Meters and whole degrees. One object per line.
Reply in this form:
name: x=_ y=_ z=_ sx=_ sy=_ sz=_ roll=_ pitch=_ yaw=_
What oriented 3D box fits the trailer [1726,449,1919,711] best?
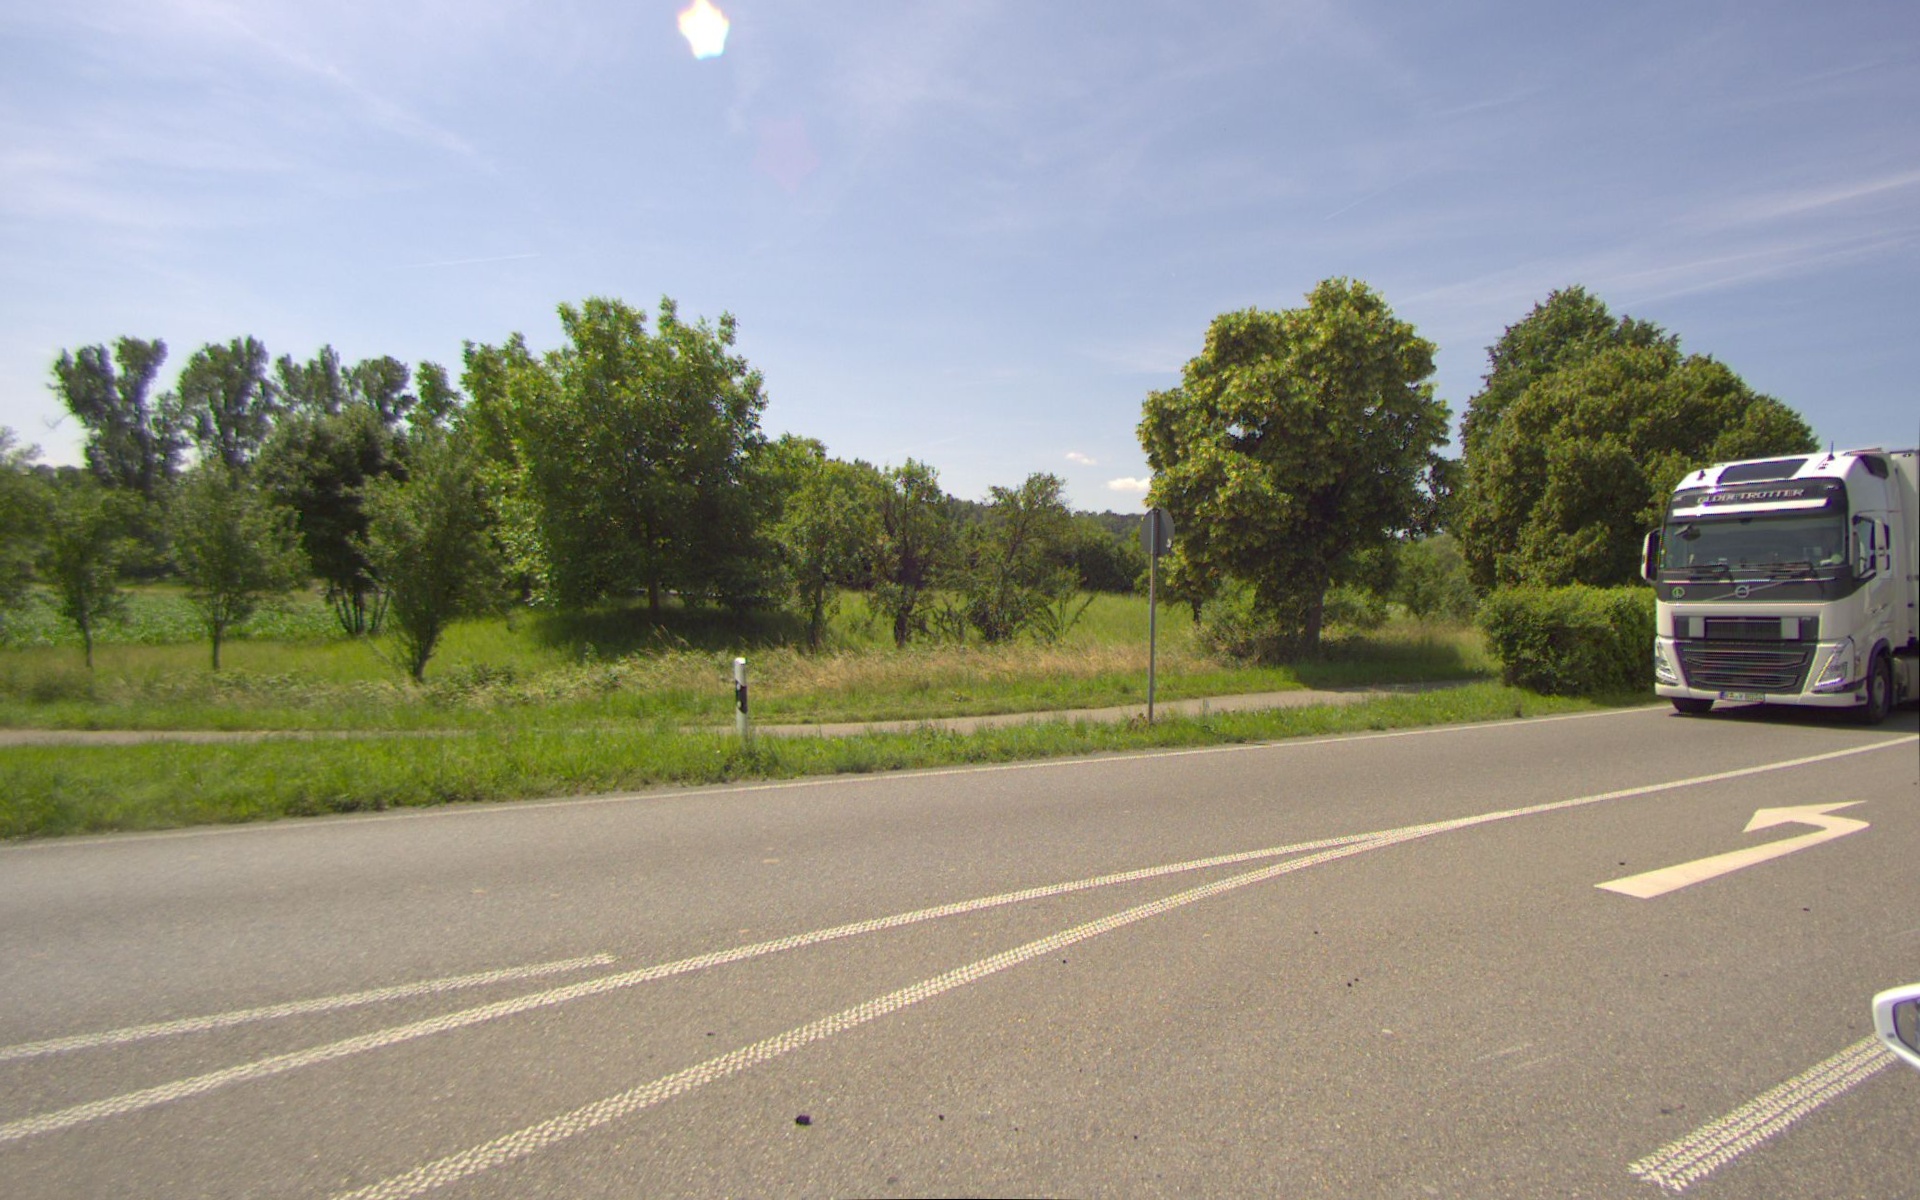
trailer: x=19.117 y=-0.256 z=20.412 sx=11.553 sy=4.156 sz=2.757 roll=1 pitch=-1 yaw=-38

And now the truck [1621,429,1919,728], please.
truck: x=13.458 y=-0.262 z=16.170 sx=5.646 sy=3.996 sz=2.761 roll=0 pitch=0 yaw=-34
